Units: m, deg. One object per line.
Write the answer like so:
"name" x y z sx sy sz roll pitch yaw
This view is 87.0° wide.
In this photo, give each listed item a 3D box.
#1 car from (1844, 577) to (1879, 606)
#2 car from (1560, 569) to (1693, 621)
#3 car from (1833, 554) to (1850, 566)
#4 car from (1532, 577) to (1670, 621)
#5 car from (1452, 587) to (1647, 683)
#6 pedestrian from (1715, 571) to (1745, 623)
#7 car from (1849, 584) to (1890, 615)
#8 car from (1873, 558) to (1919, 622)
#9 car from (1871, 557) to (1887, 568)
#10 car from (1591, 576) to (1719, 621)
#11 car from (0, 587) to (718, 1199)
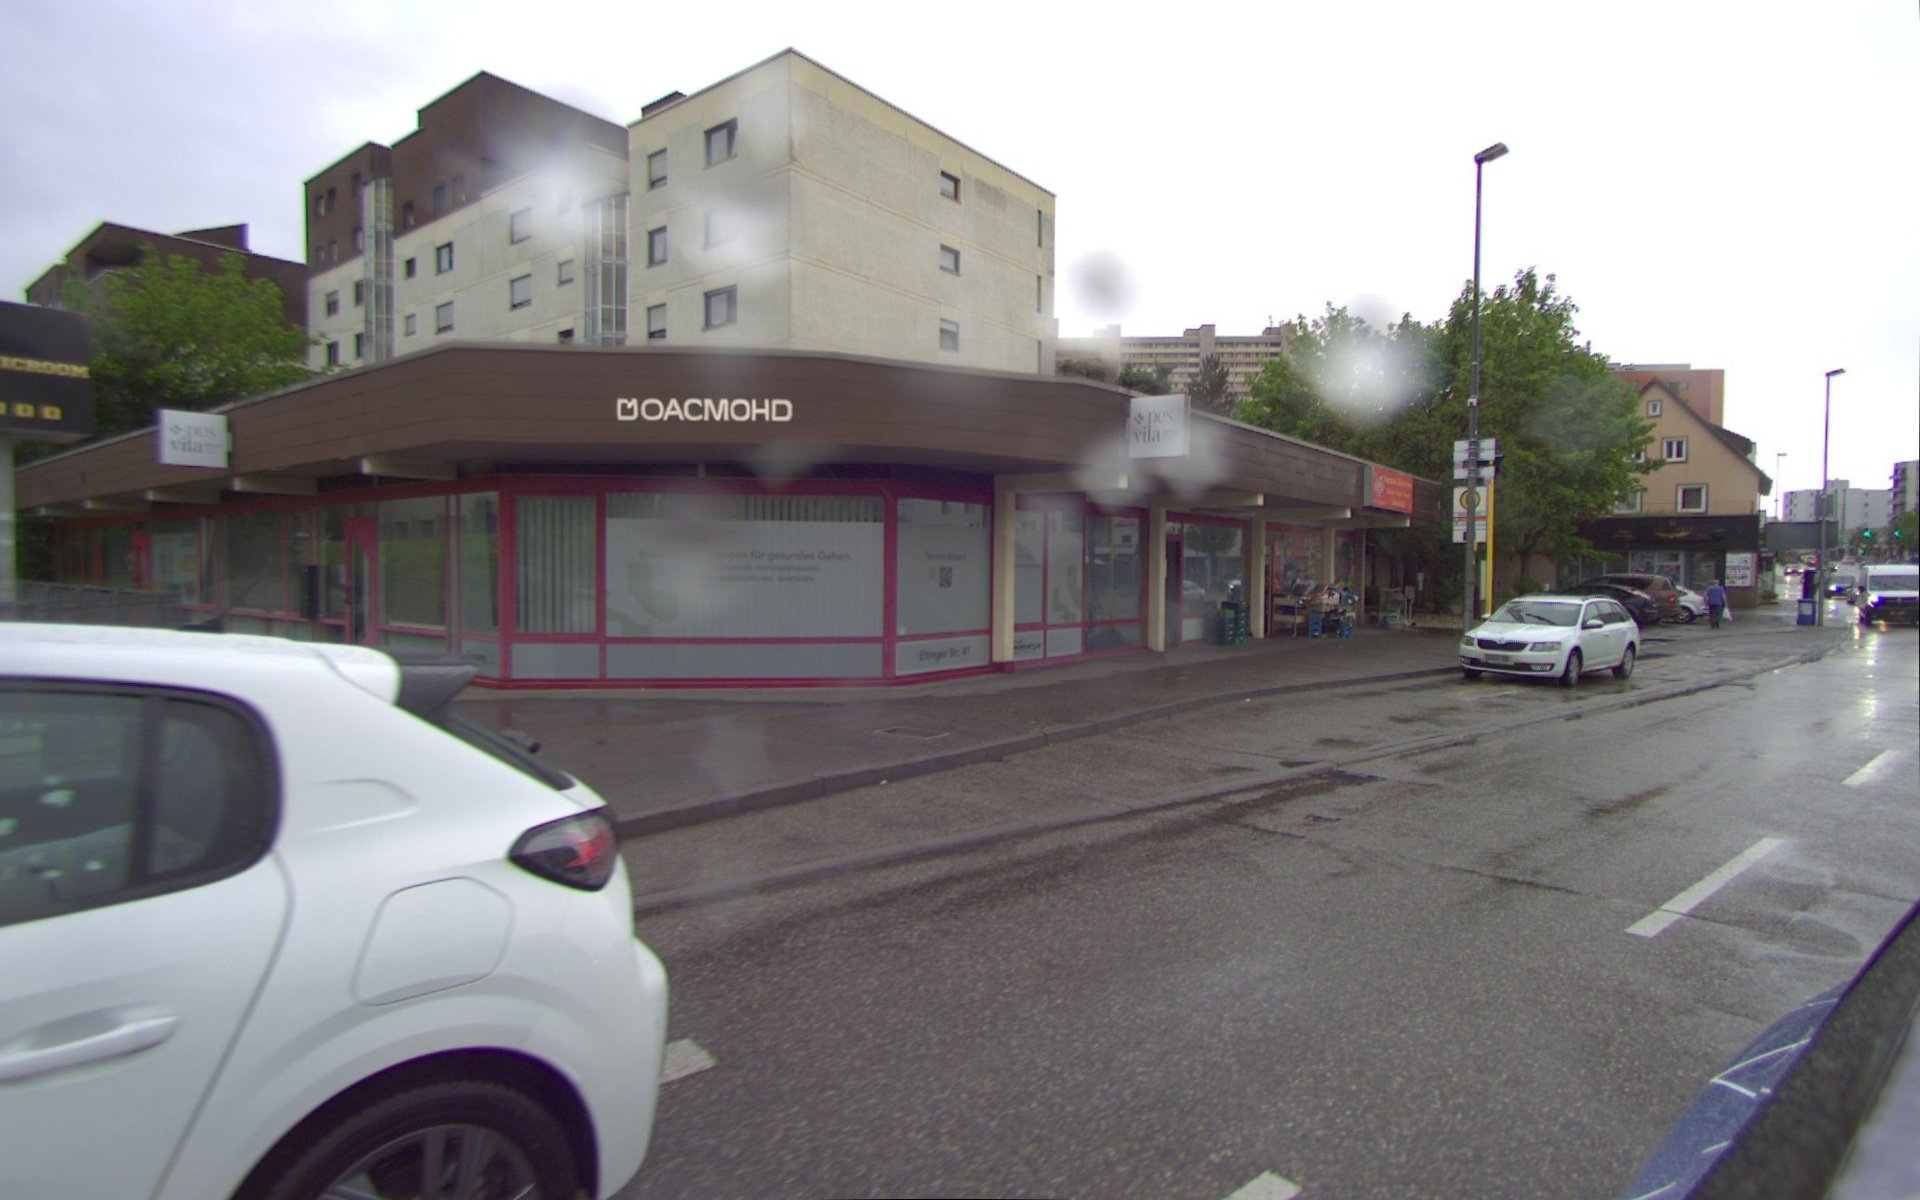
"car" 64.271 -0.578 72.160 1.716 2.025 3.775 1 0 44
"car" 24.782 -0.208 37.697 3.981 1.802 1.857 2 1 39
"car" 131.414 -6.018 150.872 1.657 1.655 3.753 1 0 38
"car" 22.851 -0.062 36.152 3.981 1.445 1.857 2 1 39
"car" 10.458 0.541 17.850 3.929 1.509 1.788 0 0 -40
"pedestrian" 27.234 -0.106 35.801 0.740 1.804 0.749 1 0 -44
"car" 54.494 -0.038 60.616 1.716 1.772 3.775 1 0 44
"car" 40.115 -0.451 42.455 6.020 2.549 2.194 -1 1 -43
"car" 144.852 -5.865 159.508 1.659 1.655 3.749 1 0 41
"car" 27.215 -0.076 39.664 3.981 1.614 1.857 2 0 40
"car" -2.577 0.693 1.447 4.043 1.433 1.665 0 0 -41
